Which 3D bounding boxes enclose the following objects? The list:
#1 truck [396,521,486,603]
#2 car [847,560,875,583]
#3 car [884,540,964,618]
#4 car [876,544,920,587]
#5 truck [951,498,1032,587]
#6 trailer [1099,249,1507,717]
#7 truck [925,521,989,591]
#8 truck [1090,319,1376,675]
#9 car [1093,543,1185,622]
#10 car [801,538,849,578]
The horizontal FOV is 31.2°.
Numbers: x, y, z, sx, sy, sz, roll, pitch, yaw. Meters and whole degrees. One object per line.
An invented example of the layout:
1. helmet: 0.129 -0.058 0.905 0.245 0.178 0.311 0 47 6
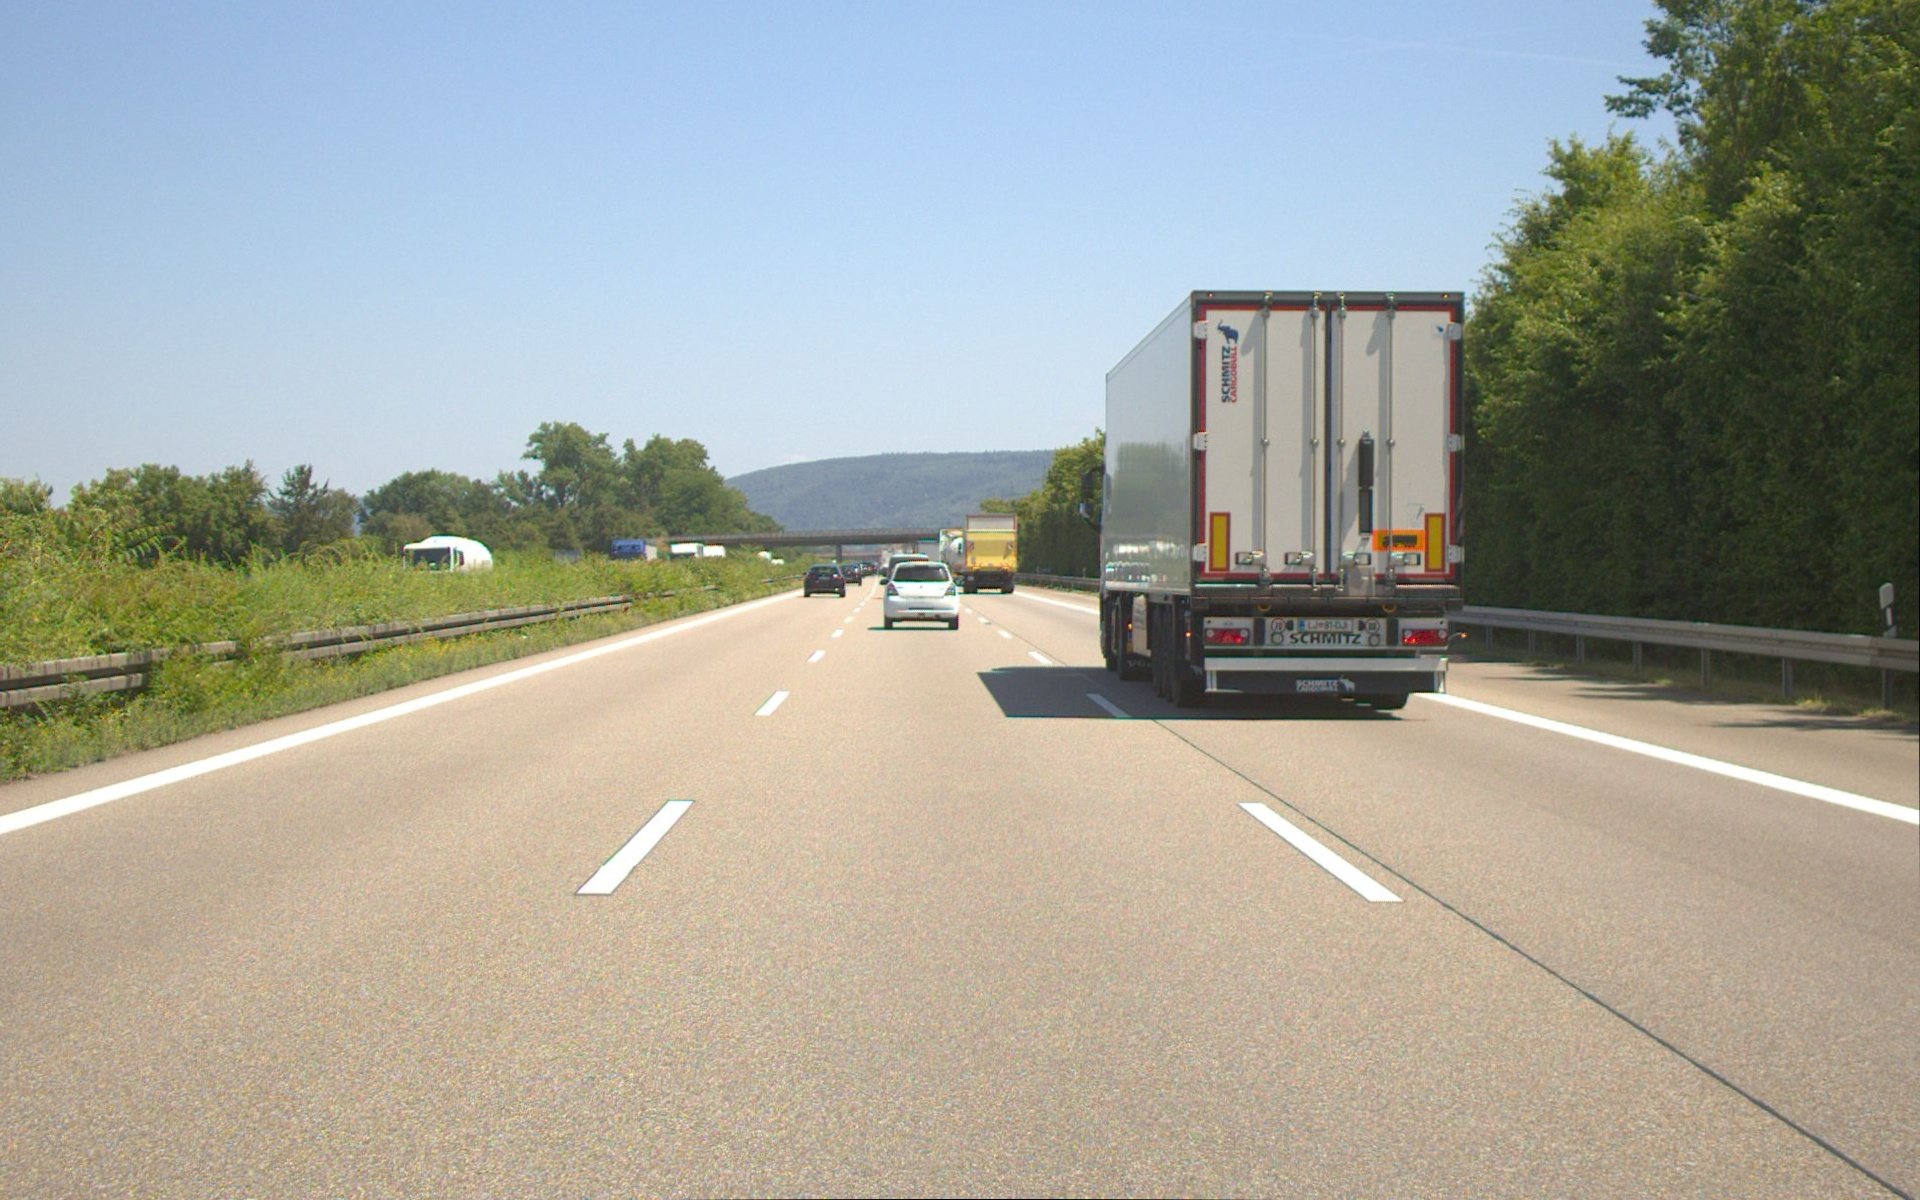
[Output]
1. truck: -22.891 -1.688 151.843 3.227 3.504 5.435 0 1 -1
2. car: -6.719 -1.916 233.170 1.795 1.545 4.000 0 1 -1
3. car: -0.844 -0.505 77.786 1.732 1.678 4.000 -1 1 -1
4. car: -2.588 -1.441 142.380 1.786 1.706 4.000 1 1 -1
5. truck: 1.541 -2.980 177.654 3.871 4.330 13.861 1 1 -1
6. trailer: 3.479 -1.211 38.996 3.218 4.330 13.629 1 1 0
7. truck: -0.283 -3.035 237.199 4.271 4.636 13.861 0 1 -1
8. truck: 3.491 -1.327 45.721 3.218 4.330 6.591 1 1 0
9. car: 3.958 -0.415 76.563 1.732 1.678 4.000 -1 1 -1
10. car: -5.880 -1.841 150.190 1.993 1.706 4.000 1 1 -1
